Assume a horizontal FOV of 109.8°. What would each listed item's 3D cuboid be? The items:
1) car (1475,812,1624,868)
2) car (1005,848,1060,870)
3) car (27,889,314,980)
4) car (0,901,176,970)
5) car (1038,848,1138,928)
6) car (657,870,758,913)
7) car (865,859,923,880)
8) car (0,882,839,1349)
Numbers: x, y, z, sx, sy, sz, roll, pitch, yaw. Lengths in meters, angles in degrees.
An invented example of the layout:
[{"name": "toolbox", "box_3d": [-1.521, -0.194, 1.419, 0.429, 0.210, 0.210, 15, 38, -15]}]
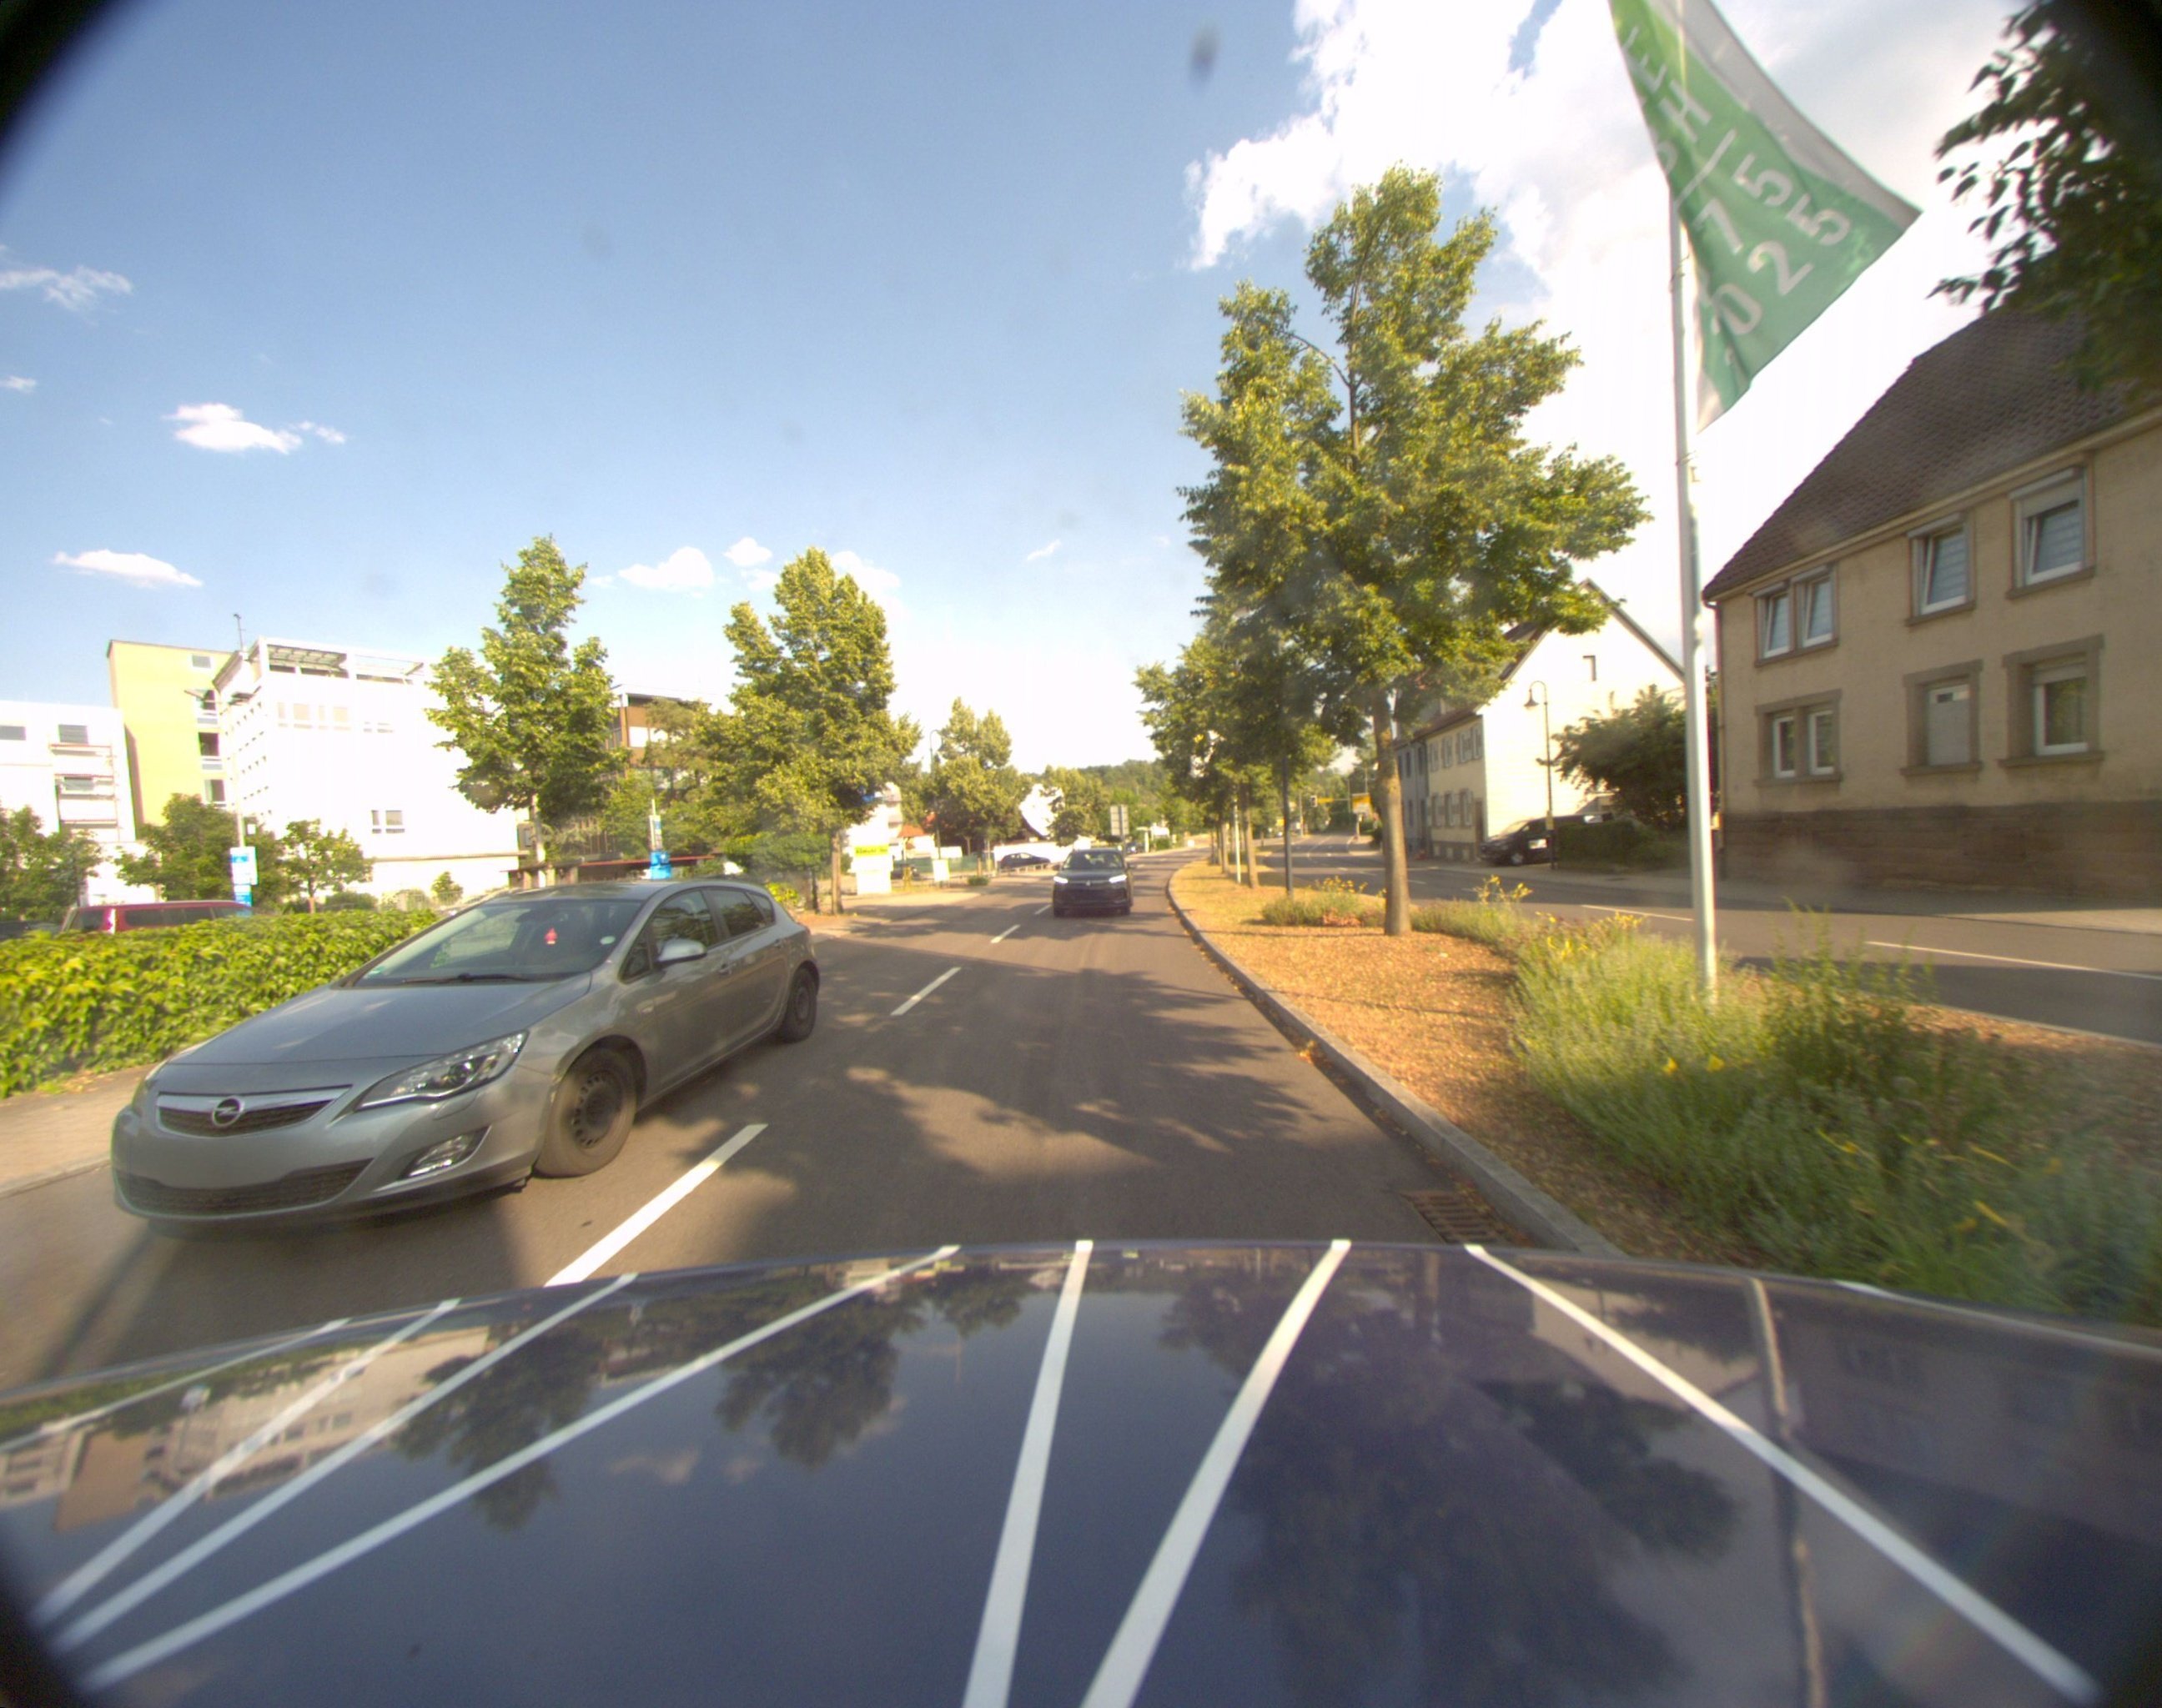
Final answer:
[{"name": "car", "box_3d": [19.522, -0.579, 31.897, 4.833, 1.866, 2.001, -5, 1, 11]}, {"name": "car", "box_3d": [-3.801, 0.390, 59.440, 3.832, 1.412, 1.939, -3, 1, 12]}, {"name": "car", "box_3d": [-24.759, 2.098, 21.019, 1.997, 1.844, 4.649, -3, 1, 7]}, {"name": "car", "box_3d": [-31.339, 2.478, 23.052, 1.997, 1.638, 4.549, -3, 1, 7]}, {"name": "car", "box_3d": [0.304, 0.715, 18.115, 1.724, 1.605, 4.263, -2, 1, 9]}, {"name": "car", "box_3d": [-15.594, 1.517, 31.977, 1.655, 1.454, 3.869, -3, 1, 12]}, {"name": "car", "box_3d": [-14.888, 1.244, 60.611, 3.994, 1.412, 1.939, -3, 1, 12]}, {"name": "car", "box_3d": [-3.215, 1.031, 4.877, 1.725, 1.481, 4.307, -2, 0, 3]}]
